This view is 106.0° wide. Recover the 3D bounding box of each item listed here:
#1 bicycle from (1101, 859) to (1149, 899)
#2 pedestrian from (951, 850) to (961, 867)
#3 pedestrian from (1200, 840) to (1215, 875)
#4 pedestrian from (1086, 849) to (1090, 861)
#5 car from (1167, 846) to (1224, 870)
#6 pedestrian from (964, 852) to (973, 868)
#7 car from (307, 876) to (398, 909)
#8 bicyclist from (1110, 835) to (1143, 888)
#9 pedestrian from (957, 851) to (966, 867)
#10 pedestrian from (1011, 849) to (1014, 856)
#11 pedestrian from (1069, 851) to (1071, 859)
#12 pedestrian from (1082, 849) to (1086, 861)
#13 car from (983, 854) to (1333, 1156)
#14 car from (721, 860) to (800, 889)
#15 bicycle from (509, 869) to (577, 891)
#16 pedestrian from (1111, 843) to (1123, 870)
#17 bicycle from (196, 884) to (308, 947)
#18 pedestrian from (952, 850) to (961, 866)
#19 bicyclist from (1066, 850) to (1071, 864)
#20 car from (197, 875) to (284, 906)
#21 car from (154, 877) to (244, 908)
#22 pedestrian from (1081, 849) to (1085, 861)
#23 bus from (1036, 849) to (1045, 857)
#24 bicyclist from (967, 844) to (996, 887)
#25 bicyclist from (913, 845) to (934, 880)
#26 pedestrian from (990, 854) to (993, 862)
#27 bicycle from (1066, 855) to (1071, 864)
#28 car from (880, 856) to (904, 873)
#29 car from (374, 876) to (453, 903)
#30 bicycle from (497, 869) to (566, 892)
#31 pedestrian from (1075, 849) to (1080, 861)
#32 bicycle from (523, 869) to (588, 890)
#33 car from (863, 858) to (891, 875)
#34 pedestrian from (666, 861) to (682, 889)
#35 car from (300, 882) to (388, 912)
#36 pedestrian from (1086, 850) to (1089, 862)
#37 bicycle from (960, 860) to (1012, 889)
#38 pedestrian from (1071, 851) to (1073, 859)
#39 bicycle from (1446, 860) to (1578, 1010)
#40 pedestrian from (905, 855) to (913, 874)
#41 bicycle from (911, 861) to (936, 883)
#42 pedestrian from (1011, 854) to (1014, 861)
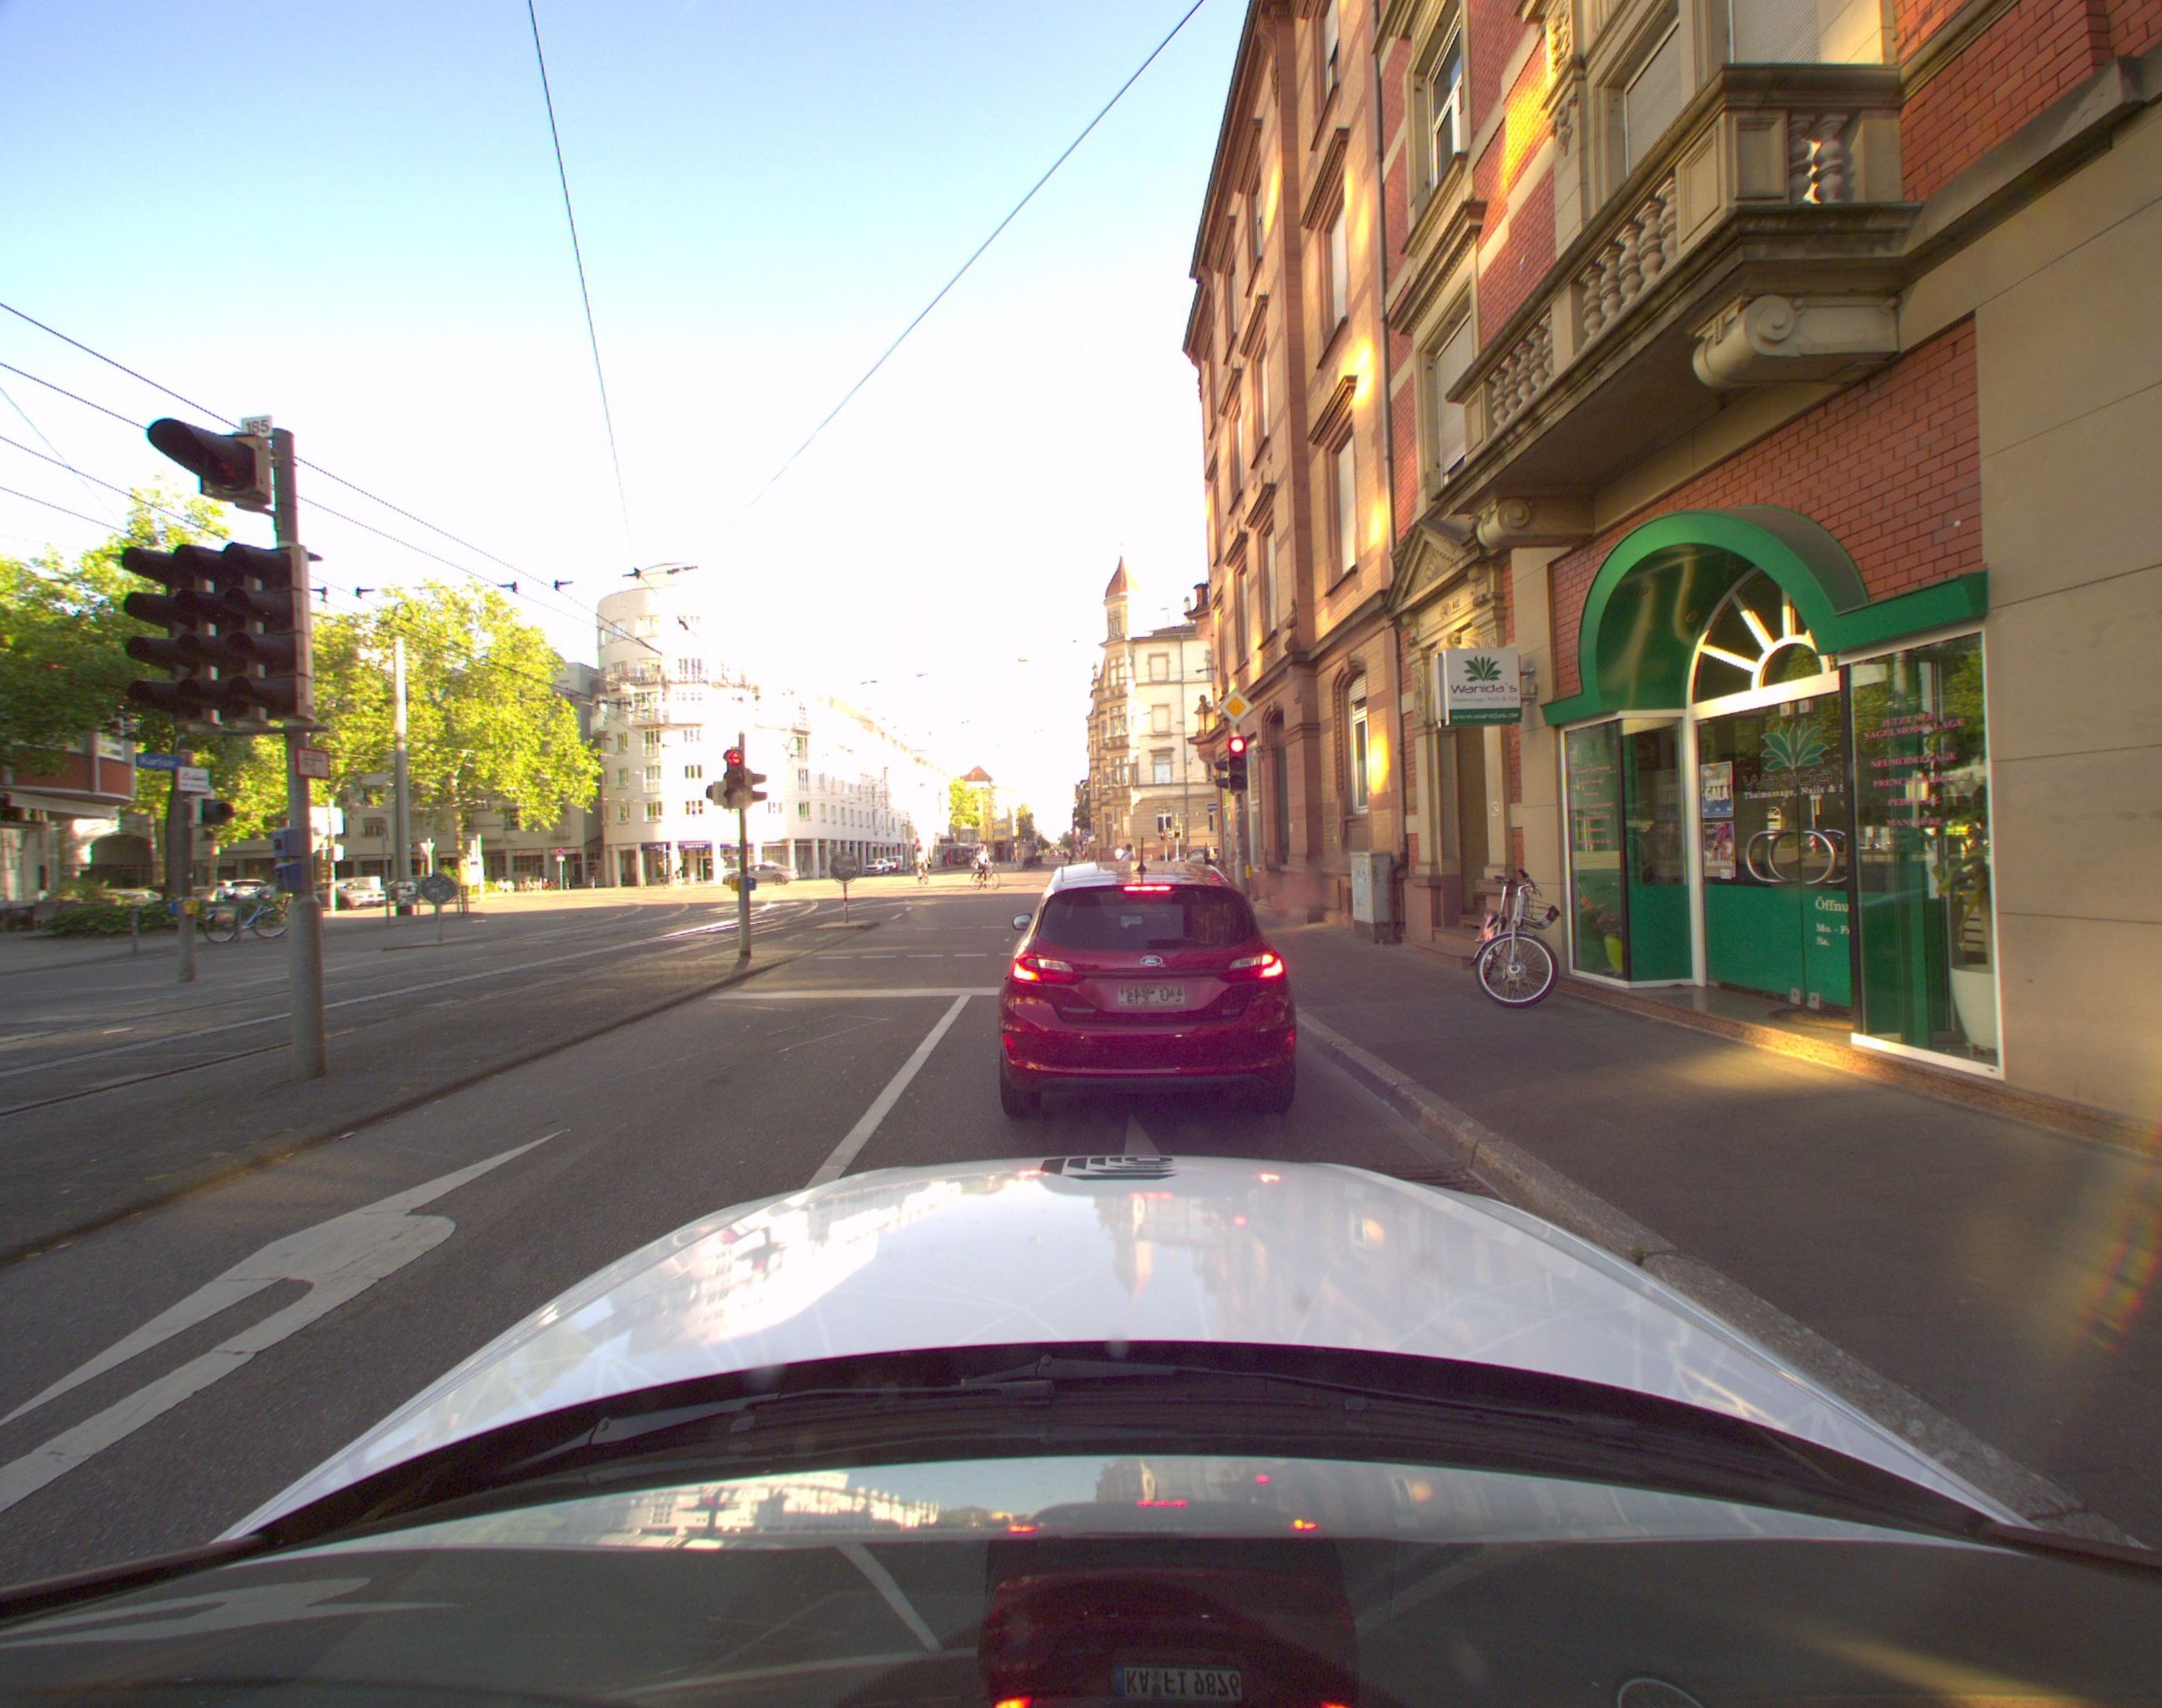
[{"bbox_3d":[1.363,0.742,25.005,0.620,1.177,2.037,-1,-1,29],"label":"bicycle"},{"bbox_3d":[-15.539,0.533,101.146,0.953,2.013,1.048,-2,0,-1],"label":"pedestrian"},{"bbox_3d":[6.465,0.158,41.655,0.558,1.755,0.650,-3,0,1],"label":"pedestrian"},{"bbox_3d":[1.137,0.163,134.683,0.574,2.013,0.632,-2,0,5],"label":"pedestrian"},{"bbox_3d":[8.107,0.278,57.979,3.877,1.549,1.457,-2,0,5],"label":"car"},{"bbox_3d":[-14.306,0.755,103.530,1.043,2.013,0.958,-2,0,-3],"label":"pedestrian"},{"bbox_3d":[-40.253,2.127,45.006,3.978,1.559,1.636,-2,0,11],"label":"car"},{"bbox_3d":[1.406,0.229,25.169,0.756,1.627,0.736,-1,-1,29],"label":"bicyclist"},{"bbox_3d":[-15.426,0.663,105.419,1.043,2.013,0.958,-2,0,-3],"label":"pedestrian"},{"bbox_3d":[-16.679,-0.291,197.446,0.630,1.604,0.575,-2,0,-18],"label":"pedestrian"},{"bbox_3d":[-2.781,0.324,204.055,0.575,1.887,0.669,-2,0,-1],"label":"pedestrian"},{"bbox_3d":[0.483,0.191,132.126,0.574,2.013,0.632,-2,0,5],"label":"pedestrian"},{"bbox_3d":[0.308,0.744,6.039,1.750,1.466,3.941,-1,0,-3],"label":"car"},{"bbox_3d":[-20.638,1.284,52.656,4.445,1.641,1.698,-2,0,-11],"label":"car"},{"bbox_3d":[-42.846,2.055,64.882,4.685,1.530,1.067,-2,0,2],"label":"bicycle"},{"bbox_3d":[2.751,0.206,62.784,0.653,2.013,0.755,-2,0,-20],"label":"pedestrian"},{"bbox_3d":[-19.756,1.434,19.470,0.668,1.327,1.907,1,0,2],"label":"bicycle"},{"bbox_3d":[-15.828,0.534,103.507,1.043,2.013,0.958,-2,0,-3],"label":"pedestrian"},{"bbox_3d":[-1.510,0.417,99.915,0.498,1.676,0.545,-2,0,0],"label":"bicyclist"},{"bbox_3d":[-60.406,2.609,58.611,1.986,1.964,4.001,-2,0,1],"label":"car"},{"bbox_3d":[-63.325,2.701,58.594,1.986,1.964,4.001,-2,0,1],"label":"car"},{"bbox_3d":[0.317,0.188,137.021,0.574,2.013,0.632,-2,0,5],"label":"pedestrian"},{"bbox_3d":[-10.858,-0.365,217.409,1.919,2.013,7.137,-2,0,1],"label":"bus"},{"bbox_3d":[-4.117,0.467,33.788,0.784,1.726,0.815,-2,0,34],"label":"bicyclist"},{"bbox_3d":[-8.451,0.463,43.737,0.812,1.821,0.985,-2,0,-25],"label":"bicyclist"},{"bbox_3d":[-18.077,0.852,164.149,0.579,1.488,0.525,-2,0,-3],"label":"pedestrian"},{"bbox_3d":[-1.495,0.708,100.000,0.524,1.089,1.487,-2,0,1],"label":"bicycle"},{"bbox_3d":[-20.383,1.079,87.956,1.696,1.718,3.562,-2,0,-1],"label":"car"},{"bbox_3d":[-44.181,2.328,53.929,3.969,1.531,1.618,-2,0,4],"label":"car"},{"bbox_3d":[-43.008,2.074,63.745,4.685,1.530,1.067,-2,0,2],"label":"bicycle"},{"bbox_3d":[-0.596,0.233,136.952,0.574,2.013,0.632,-2,0,5],"label":"pedestrian"},{"bbox_3d":[-42.851,2.063,66.434,4.685,1.530,1.067,-2,0,2],"label":"bicycle"},{"bbox_3d":[-20.153,1.180,80.573,1.760,1.546,3.460,-2,0,0],"label":"car"},{"bbox_3d":[-29.808,1.554,59.649,0.949,2.013,0.931,-2,0,-29],"label":"pedestrian"},{"bbox_3d":[-36.922,2.160,40.811,3.968,1.295,1.781,-2,0,24],"label":"car"},{"bbox_3d":[0.988,0.309,122.682,0.412,1.680,0.485,-2,0,1],"label":"pedestrian"},{"bbox_3d":[-3.933,0.851,33.668,2.023,1.147,0.815,-2,0,34],"label":"bicycle"},{"bbox_3d":[-2.252,0.247,200.865,0.575,1.887,0.630,-2,0,-1],"label":"pedestrian"},{"bbox_3d":[3.868,0.679,7.444,0.710,1.152,1.662,-4,0,17],"label":"bicycle"},{"bbox_3d":[-15.615,0.961,73.878,0.522,1.681,0.486,-2,0,1],"label":"pedestrian"},{"bbox_3d":[-8.466,0.956,43.812,0.812,1.147,1.993,-2,0,-25],"label":"bicycle"},{"bbox_3d":[-13.548,0.655,161.704,0.522,1.488,0.583,-2,0,1],"label":"pedestrian"}]
